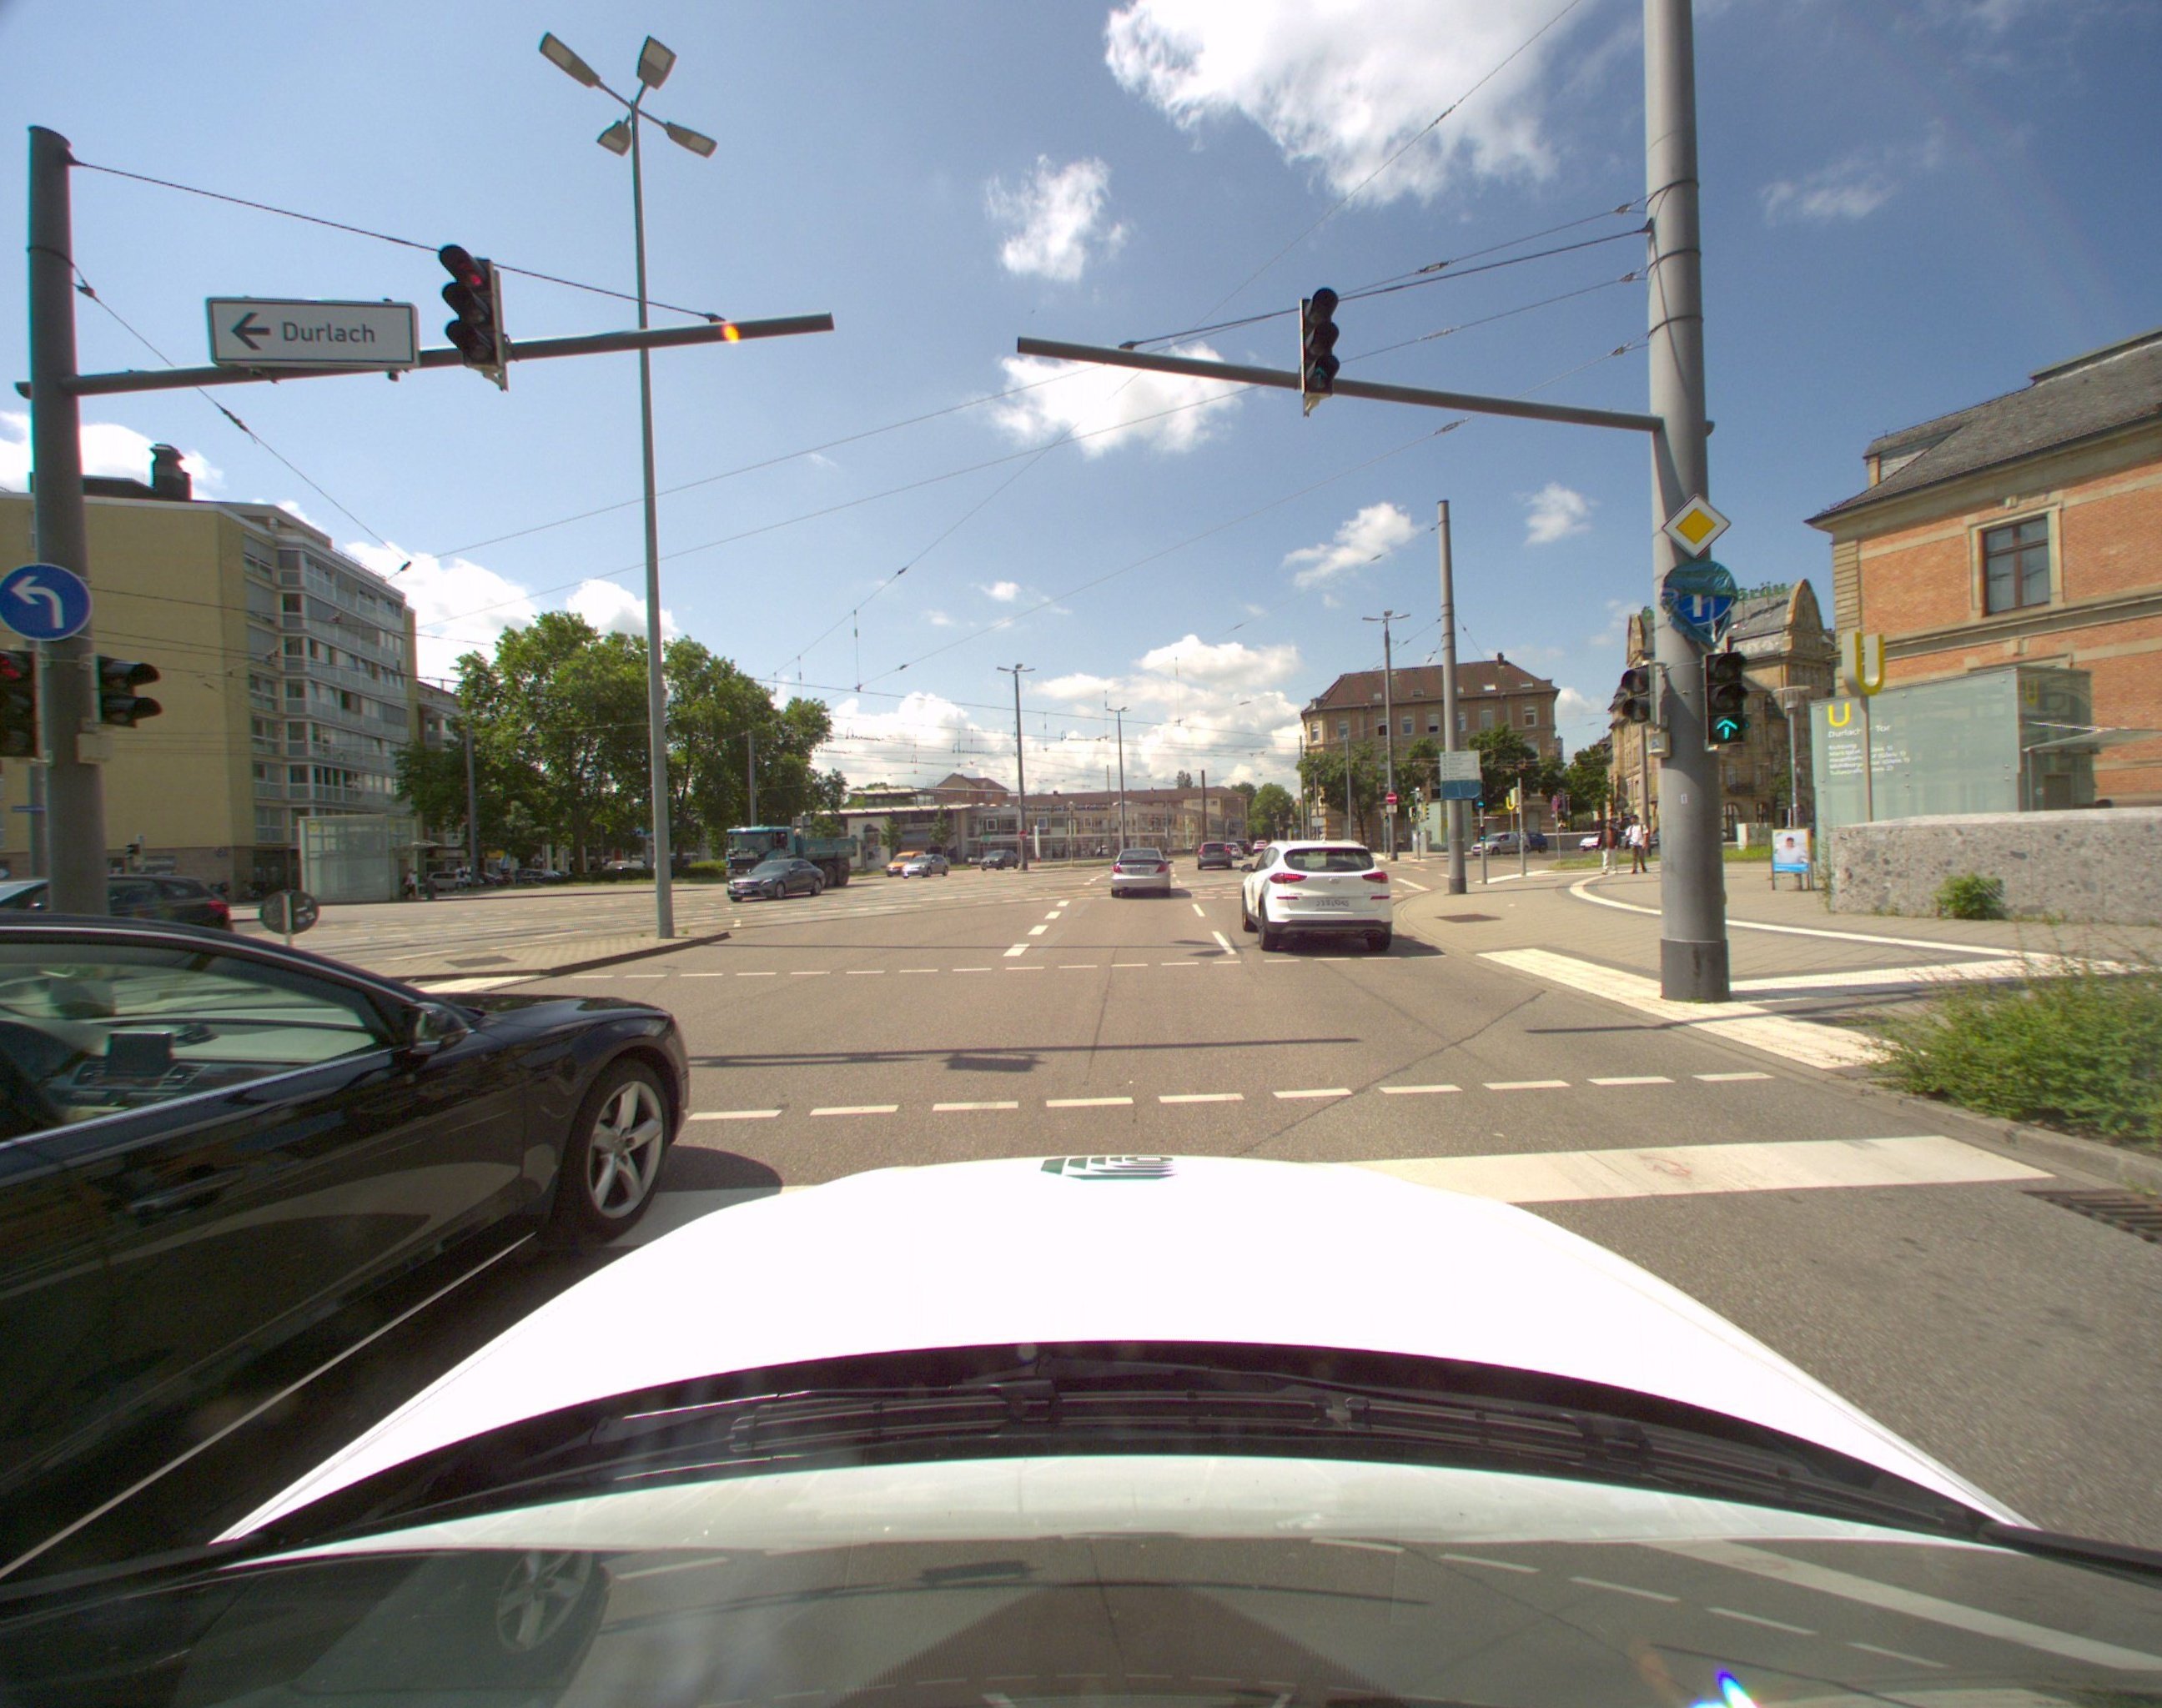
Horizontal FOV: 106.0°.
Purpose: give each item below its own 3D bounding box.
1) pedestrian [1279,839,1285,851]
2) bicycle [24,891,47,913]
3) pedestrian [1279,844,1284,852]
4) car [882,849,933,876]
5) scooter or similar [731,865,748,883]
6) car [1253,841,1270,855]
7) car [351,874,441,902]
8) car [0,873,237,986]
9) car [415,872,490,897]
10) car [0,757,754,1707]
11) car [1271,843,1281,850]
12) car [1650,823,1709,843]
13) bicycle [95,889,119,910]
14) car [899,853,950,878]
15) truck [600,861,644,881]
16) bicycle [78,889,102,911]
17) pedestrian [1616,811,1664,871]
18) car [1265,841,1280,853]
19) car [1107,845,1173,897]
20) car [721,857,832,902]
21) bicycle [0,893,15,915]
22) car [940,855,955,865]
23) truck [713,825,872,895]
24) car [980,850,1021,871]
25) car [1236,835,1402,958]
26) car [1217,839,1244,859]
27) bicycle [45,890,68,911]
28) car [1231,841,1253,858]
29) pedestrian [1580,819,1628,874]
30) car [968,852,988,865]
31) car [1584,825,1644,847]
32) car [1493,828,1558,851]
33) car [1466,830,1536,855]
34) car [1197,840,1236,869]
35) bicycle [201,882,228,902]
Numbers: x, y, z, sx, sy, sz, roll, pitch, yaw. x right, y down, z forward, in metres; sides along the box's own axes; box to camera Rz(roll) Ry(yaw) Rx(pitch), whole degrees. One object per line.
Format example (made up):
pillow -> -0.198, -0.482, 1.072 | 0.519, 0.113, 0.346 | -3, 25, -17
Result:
pedestrian -> 24.418, -1.075, 98.964 | 0.687, 1.457, 0.683 | -1, -1, 16
bicycle -> -56.197, 2.566, 43.777 | 2.107, 1.147, 0.515 | -2, -1, 31
pedestrian -> 24.388, -0.684, 98.872 | 0.520, 0.906, 1.567 | -1, -1, 16
car -> -12.980, 0.599, 61.170 | 1.705, 1.800, 4.759 | -3, 0, 14
scooter or similar -> -22.239, 1.285, 52.989 | 0.374, 1.115, 1.100 | -2, -1, 20
car -> 23.353, -0.775, 105.261 | 1.866, 1.641, 3.975 | -2, 0, 17
car -> -45.145, 2.214, 53.792 | 4.109, 1.665, 1.860 | -1, -1, -14
car -> -15.613, 1.107, 12.046 | 1.645, 1.469, 4.161 | -2, 0, 6
car -> -48.618, 2.338, 63.077 | 4.104, 1.858, 1.974 | -1, -1, -15
car -> -2.781, 0.682, 1.806 | 1.920, 1.641, 4.796 | -2, 0, 3
car -> 46.095, -1.735, 192.432 | 1.866, 1.693, 3.974 | -2, 0, 17
car -> 47.514, -1.674, 64.689 | 4.139, 1.473, 1.712 | -2, 0, -19
bicycle -> -53.622, 2.502, 44.835 | 2.107, 1.147, 0.515 | -2, -1, 31
car -> -10.038, 0.737, 52.579 | 1.642, 1.433, 4.285 | -2, 0, 11
truck -> -52.252, 1.904, 92.780 | 1.795, 2.120, 4.787 | -2, 0, 6
bicycle -> -54.133, 2.509, 44.492 | 2.107, 1.147, 0.515 | -2, -1, 31
pedestrian -> 17.235, -0.396, 25.107 | 0.760, 1.751, 0.855 | -3, -2, -32
car -> 28.004, -0.992, 119.232 | 1.866, 1.641, 3.975 | -2, 0, 17
car -> 1.866, 0.454, 24.554 | 1.732, 1.391, 4.188 | -1, 1, 7
car -> -11.020, 0.871, 29.916 | 1.644, 1.391, 4.787 | -2, 0, 8
bicycle -> -58.572, 2.688, 43.586 | 1.941, 1.147, 0.525 | -1, -1, -11
car -> -16.334, 0.748, 99.608 | 1.650, 1.250, 3.982 | -1, -1, -13
truck -> -13.255, 0.205, 38.552 | 2.866, 2.852, 8.820 | -2, 0, 11
car -> -6.318, 0.462, 64.348 | 1.705, 1.531, 4.139 | -2, 0, 16
car -> 3.686, 0.572, 13.374 | 1.871, 1.641, 4.240 | -2, 0, 6
car -> 12.982, -0.428, 70.669 | 1.866, 1.641, 3.974 | -2, 0, 16
bicycle -> -55.506, 2.511, 44.129 | 2.107, 1.147, 0.515 | -2, -1, 31
car -> 16.815, -0.482, 85.019 | 1.867, 1.641, 3.974 | -2, 0, 16
pedestrian -> 16.665, -0.221, 25.962 | 0.970, 1.657, 0.855 | -3, -2, -32
car -> -12.811, 0.552, 101.561 | 1.988, 1.574, 3.997 | -1, -1, -1
car -> 40.696, -1.364, 62.187 | 4.141, 1.473, 1.712 | -2, 0, -21
car -> 31.852, -1.016, 58.399 | 4.139, 1.473, 1.712 | -2, 0, -19
car -> 27.591, -0.746, 53.503 | 4.139, 1.473, 1.712 | -2, 0, -19
car -> 7.244, 0.006, 43.398 | 1.869, 1.419, 3.968 | -2, 0, 10
bicycle -> -49.475, 2.177, 46.502 | 2.108, 1.147, 0.514 | -2, -1, 28
